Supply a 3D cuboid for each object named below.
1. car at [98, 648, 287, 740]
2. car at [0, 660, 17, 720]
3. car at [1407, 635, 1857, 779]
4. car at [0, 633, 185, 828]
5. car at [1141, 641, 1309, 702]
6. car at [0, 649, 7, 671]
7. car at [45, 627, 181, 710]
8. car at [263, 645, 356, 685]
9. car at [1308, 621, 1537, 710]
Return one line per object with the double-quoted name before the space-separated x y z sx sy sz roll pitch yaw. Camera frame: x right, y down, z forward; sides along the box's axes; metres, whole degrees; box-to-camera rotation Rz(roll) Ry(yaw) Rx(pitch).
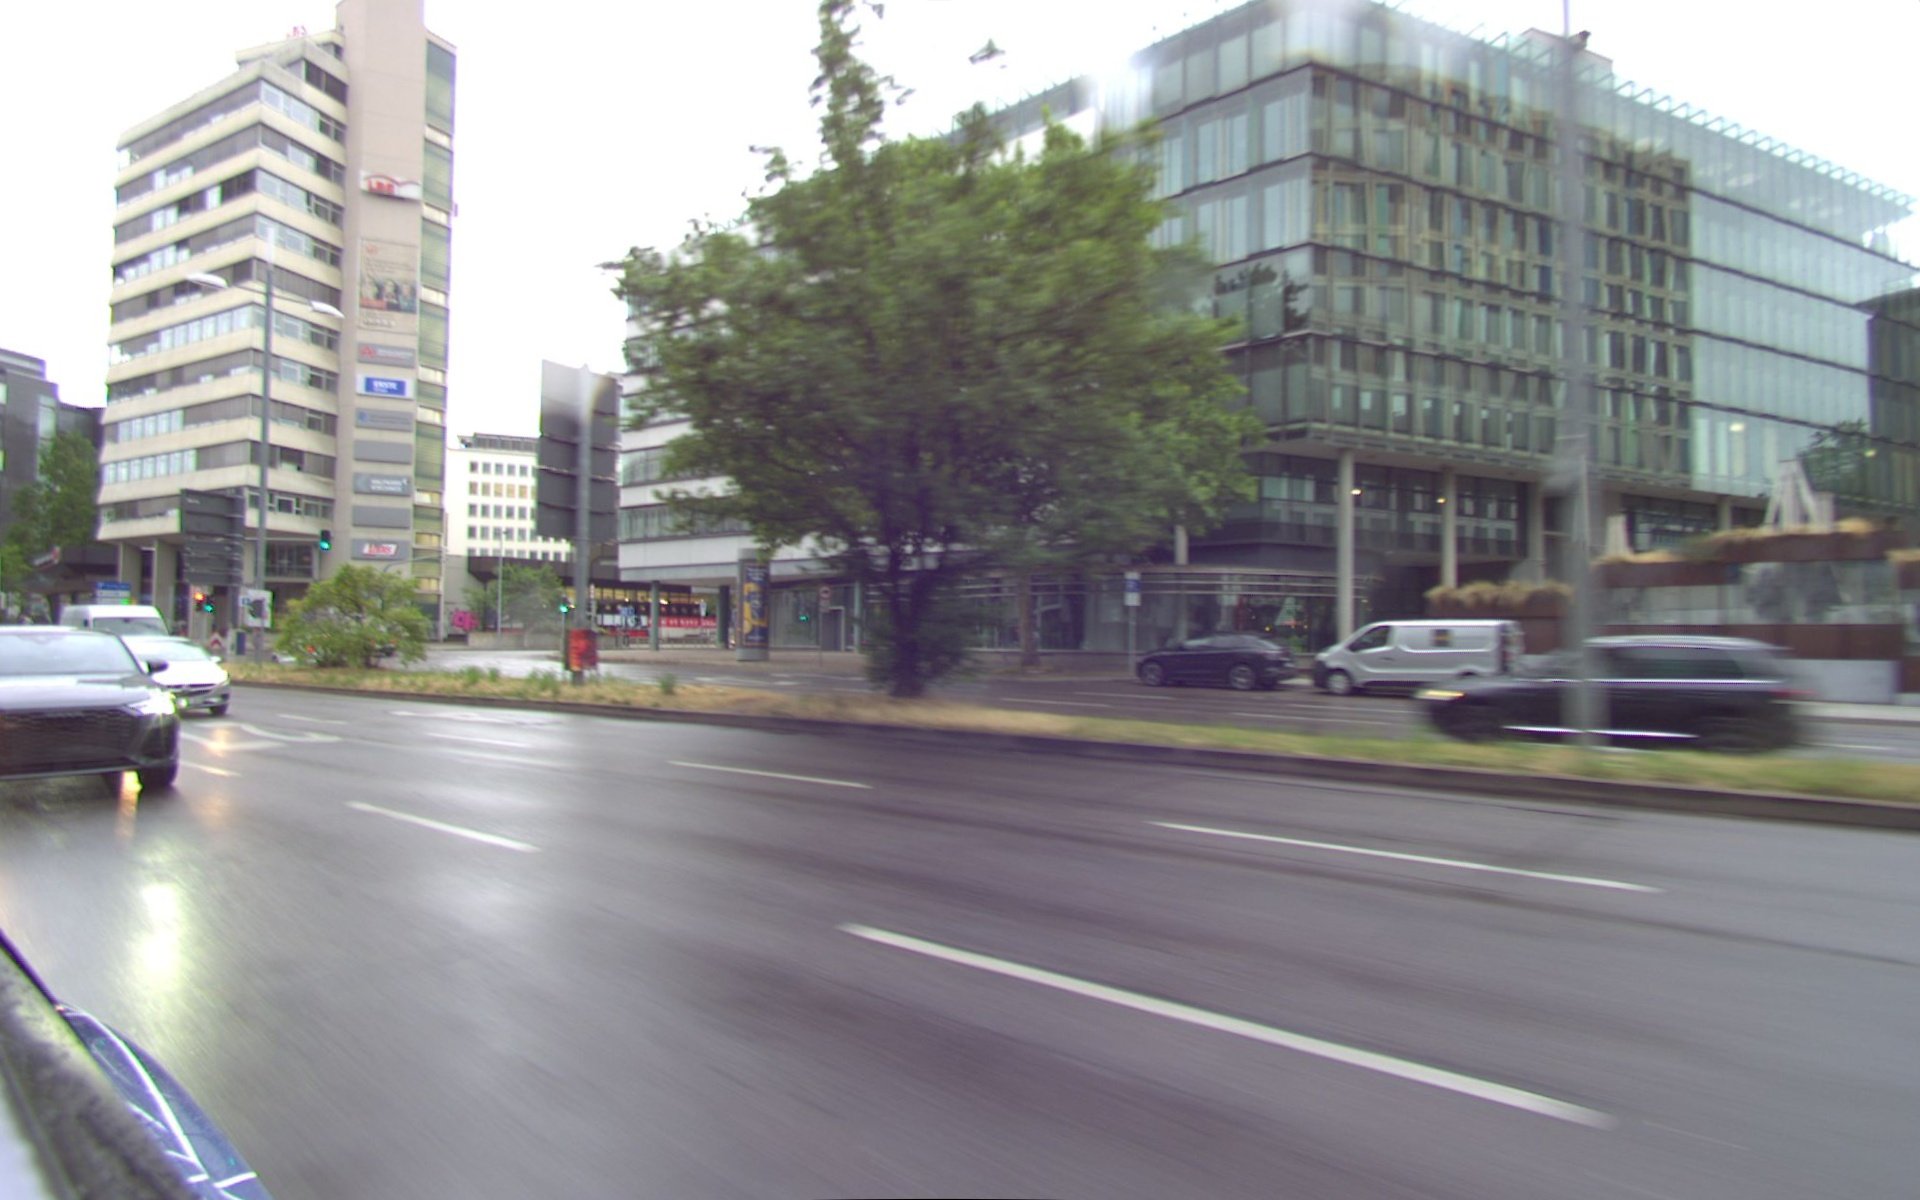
"car" -14.671 1.701 19.287 4.119 1.490 1.754 -1 -2 36
"car" -25.662 2.281 25.861 4.240 1.412 1.879 -1 -2 42
"car" 8.946 1.316 13.942 4.863 1.644 1.810 -1 -2 35
"car" -9.058 1.118 10.056 1.776 1.564 4.393 2 -2 -42
"car" 7.481 1.967 28.792 4.282 1.541 1.780 -1 -2 39
"car" -72.963 4.437 74.718 5.140 1.597 1.983 -1 -2 25
"car" -26.902 2.059 32.086 5.713 2.403 2.231 -1 -2 39
"car" -25.690 2.527 39.932 3.962 1.475 1.736 -1 -2 35
"car" 11.579 1.570 25.545 4.911 2.029 1.974 -1 -2 39
